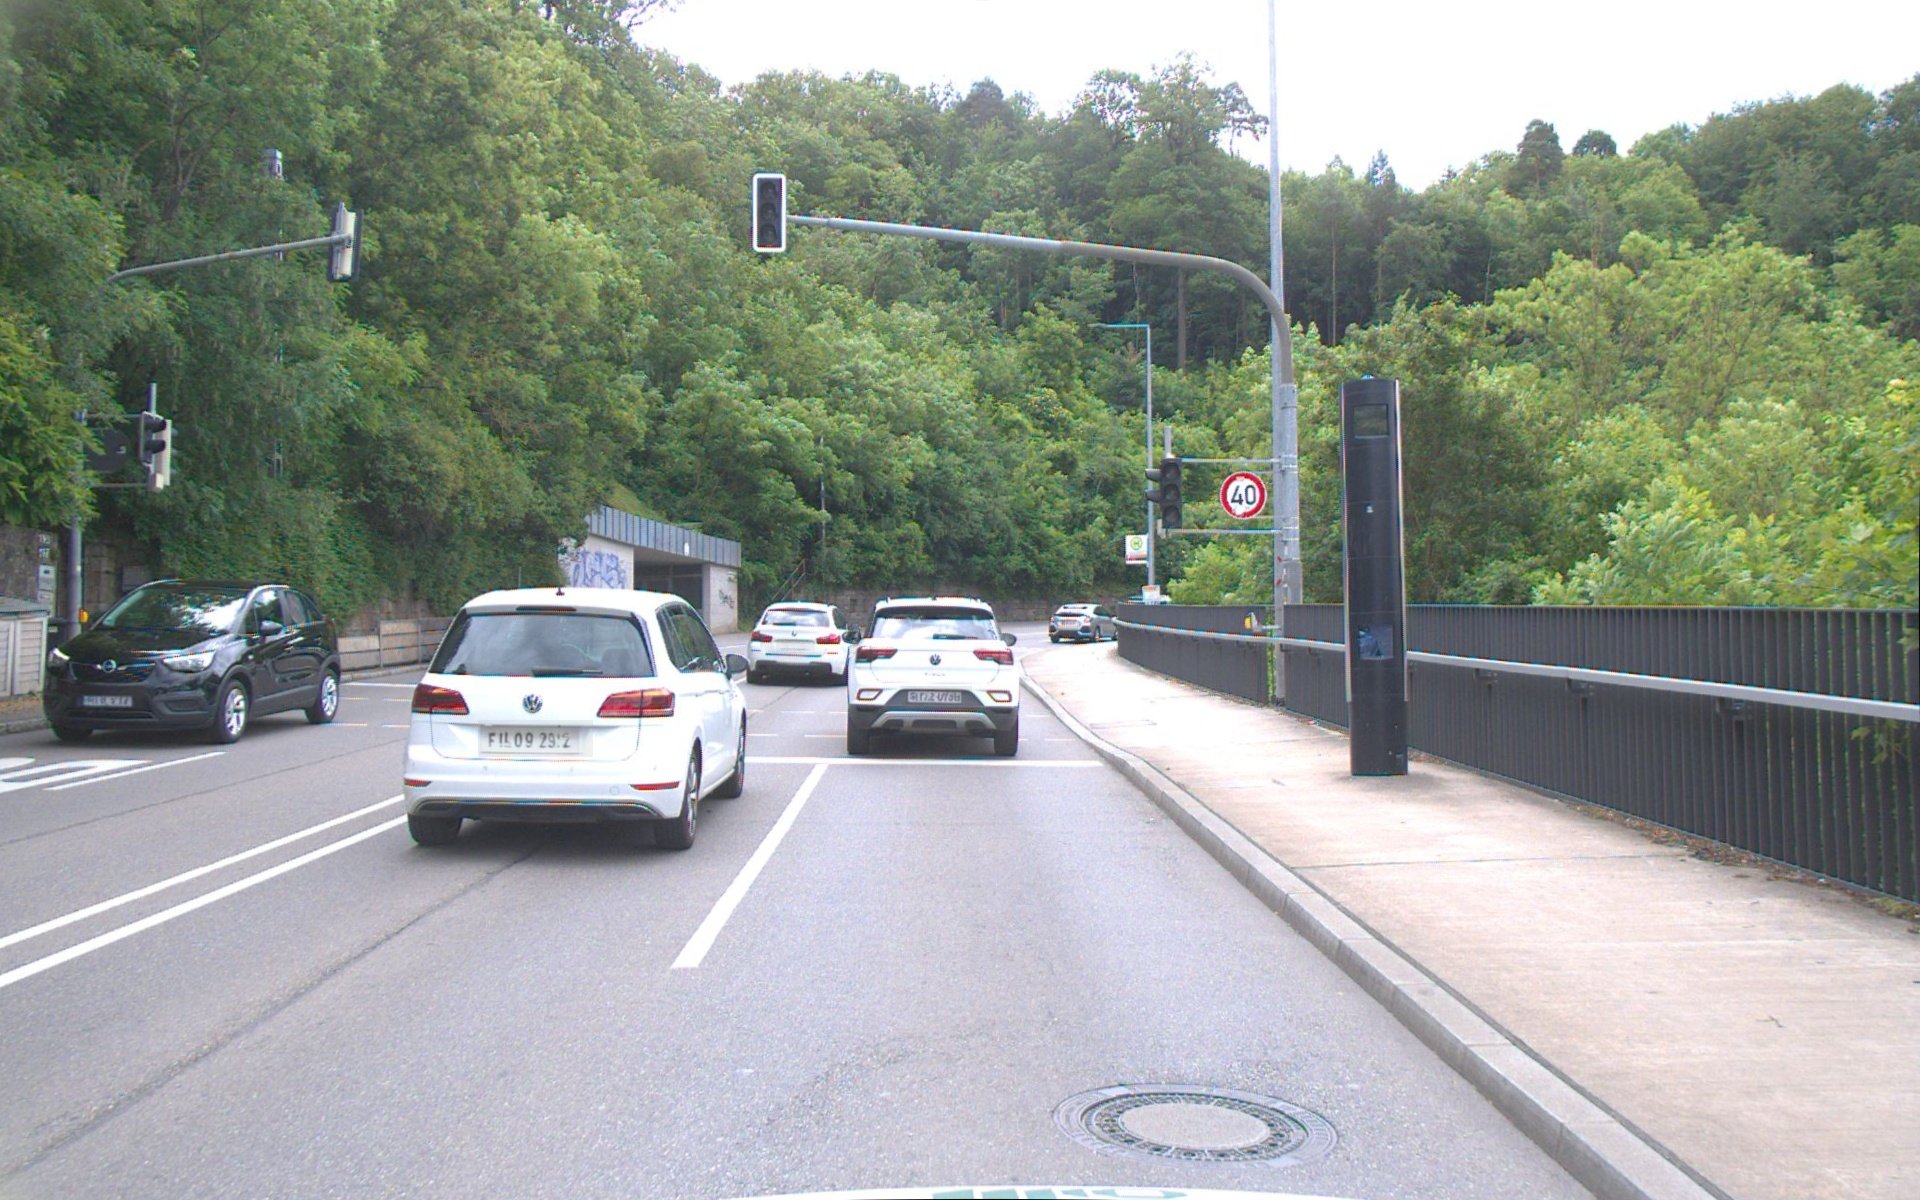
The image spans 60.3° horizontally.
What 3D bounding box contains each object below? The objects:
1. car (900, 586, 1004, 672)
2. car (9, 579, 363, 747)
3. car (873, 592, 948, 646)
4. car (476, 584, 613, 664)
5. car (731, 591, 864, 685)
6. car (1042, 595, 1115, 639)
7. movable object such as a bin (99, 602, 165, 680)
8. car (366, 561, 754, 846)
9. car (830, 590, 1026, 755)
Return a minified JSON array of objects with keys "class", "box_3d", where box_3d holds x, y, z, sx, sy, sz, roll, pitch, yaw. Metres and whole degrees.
[{"class":"car","box_3d":[-0.126,0.680,39.371,1.951,1.875,4.153,2,-1,6]},{"class":"car","box_3d":[-7.999,0.578,17.584,1.745,1.508,4.211,2,0,0]},{"class":"car","box_3d":[-1.566,0.643,53.668,1.823,1.623,4.002,2,-1,7]},{"class":"car","box_3d":[-8.402,0.476,33.797,1.776,1.459,4.247,2,-1,-2]},{"class":"car","box_3d":[-2.972,0.670,31.274,1.952,1.585,4.681,2,0,1]},{"class":"car","box_3d":[4.472,0.648,61.941,1.989,1.545,4.204,2,-1,14]},{"class":"movable object such as a bin","box_3d":[-11.919,0.590,23.829,0.629,1.086,0.556,2,-1,-2]},{"class":"car","box_3d":[-2.518,0.590,11.461,1.685,1.581,4.274,1,0,-1]},{"class":"car","box_3d":[-0.228,0.718,17.908,1.775,1.566,4.010,-1,-1,4]}]
